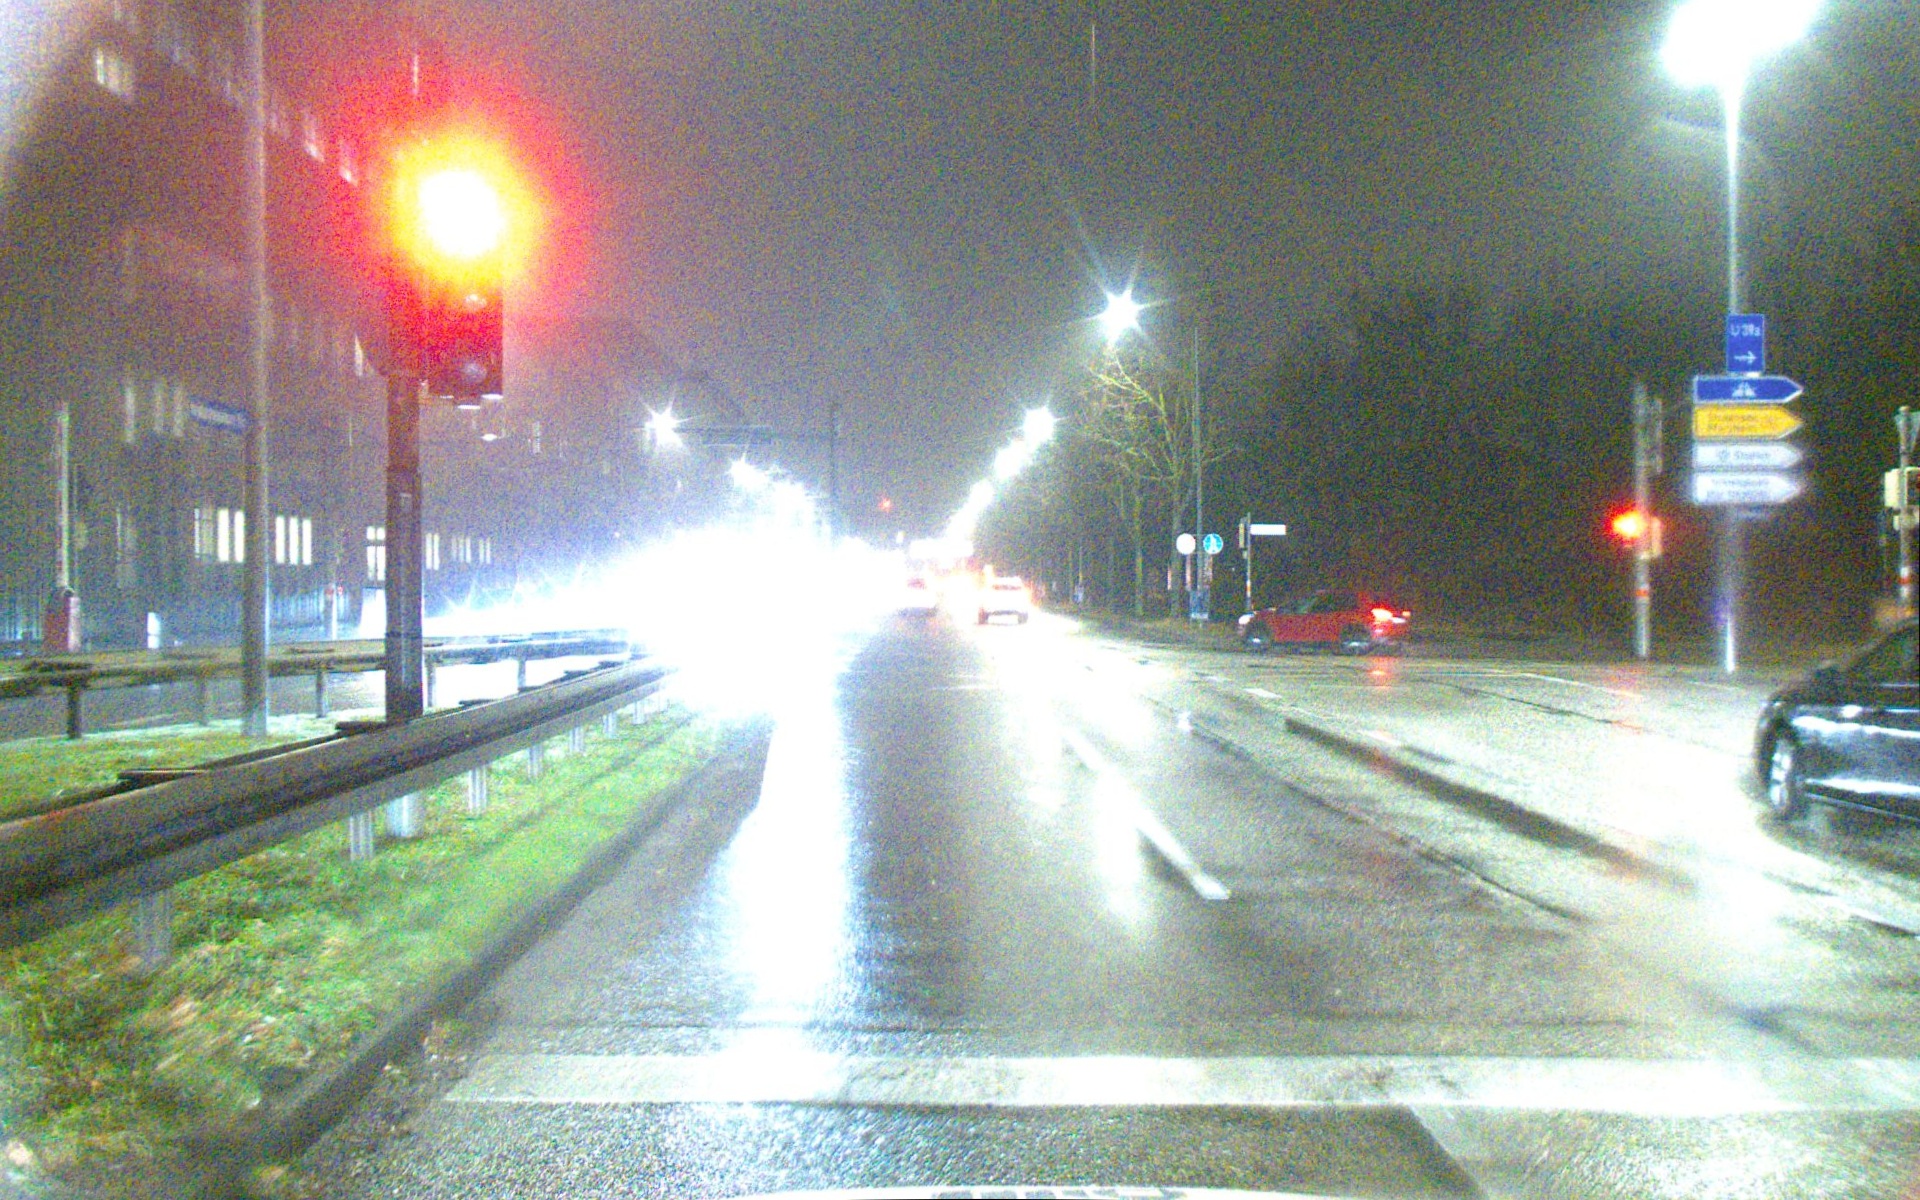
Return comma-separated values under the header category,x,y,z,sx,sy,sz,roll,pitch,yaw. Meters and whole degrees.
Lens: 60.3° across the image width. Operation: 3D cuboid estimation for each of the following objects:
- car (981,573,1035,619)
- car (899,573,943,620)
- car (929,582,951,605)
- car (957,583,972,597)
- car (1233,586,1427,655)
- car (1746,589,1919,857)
category,x,y,z,sx,sy,sz,roll,pitch,yaw
car,1.824,-0.139,63.905,1.755,1.708,4.426,1,0,-2
car,-1.654,-0.129,69.699,1.754,1.907,4.625,1,0,-1
car,-1.724,-0.545,139.890,1.755,1.907,4.625,1,0,-2
car,0.609,-1.368,220.806,1.953,1.790,3.999,1,0,-1
car,8.647,0.451,38.779,4.068,1.513,1.791,1,0,34
car,6.299,0.705,9.306,1.799,1.504,4.631,1,0,4
